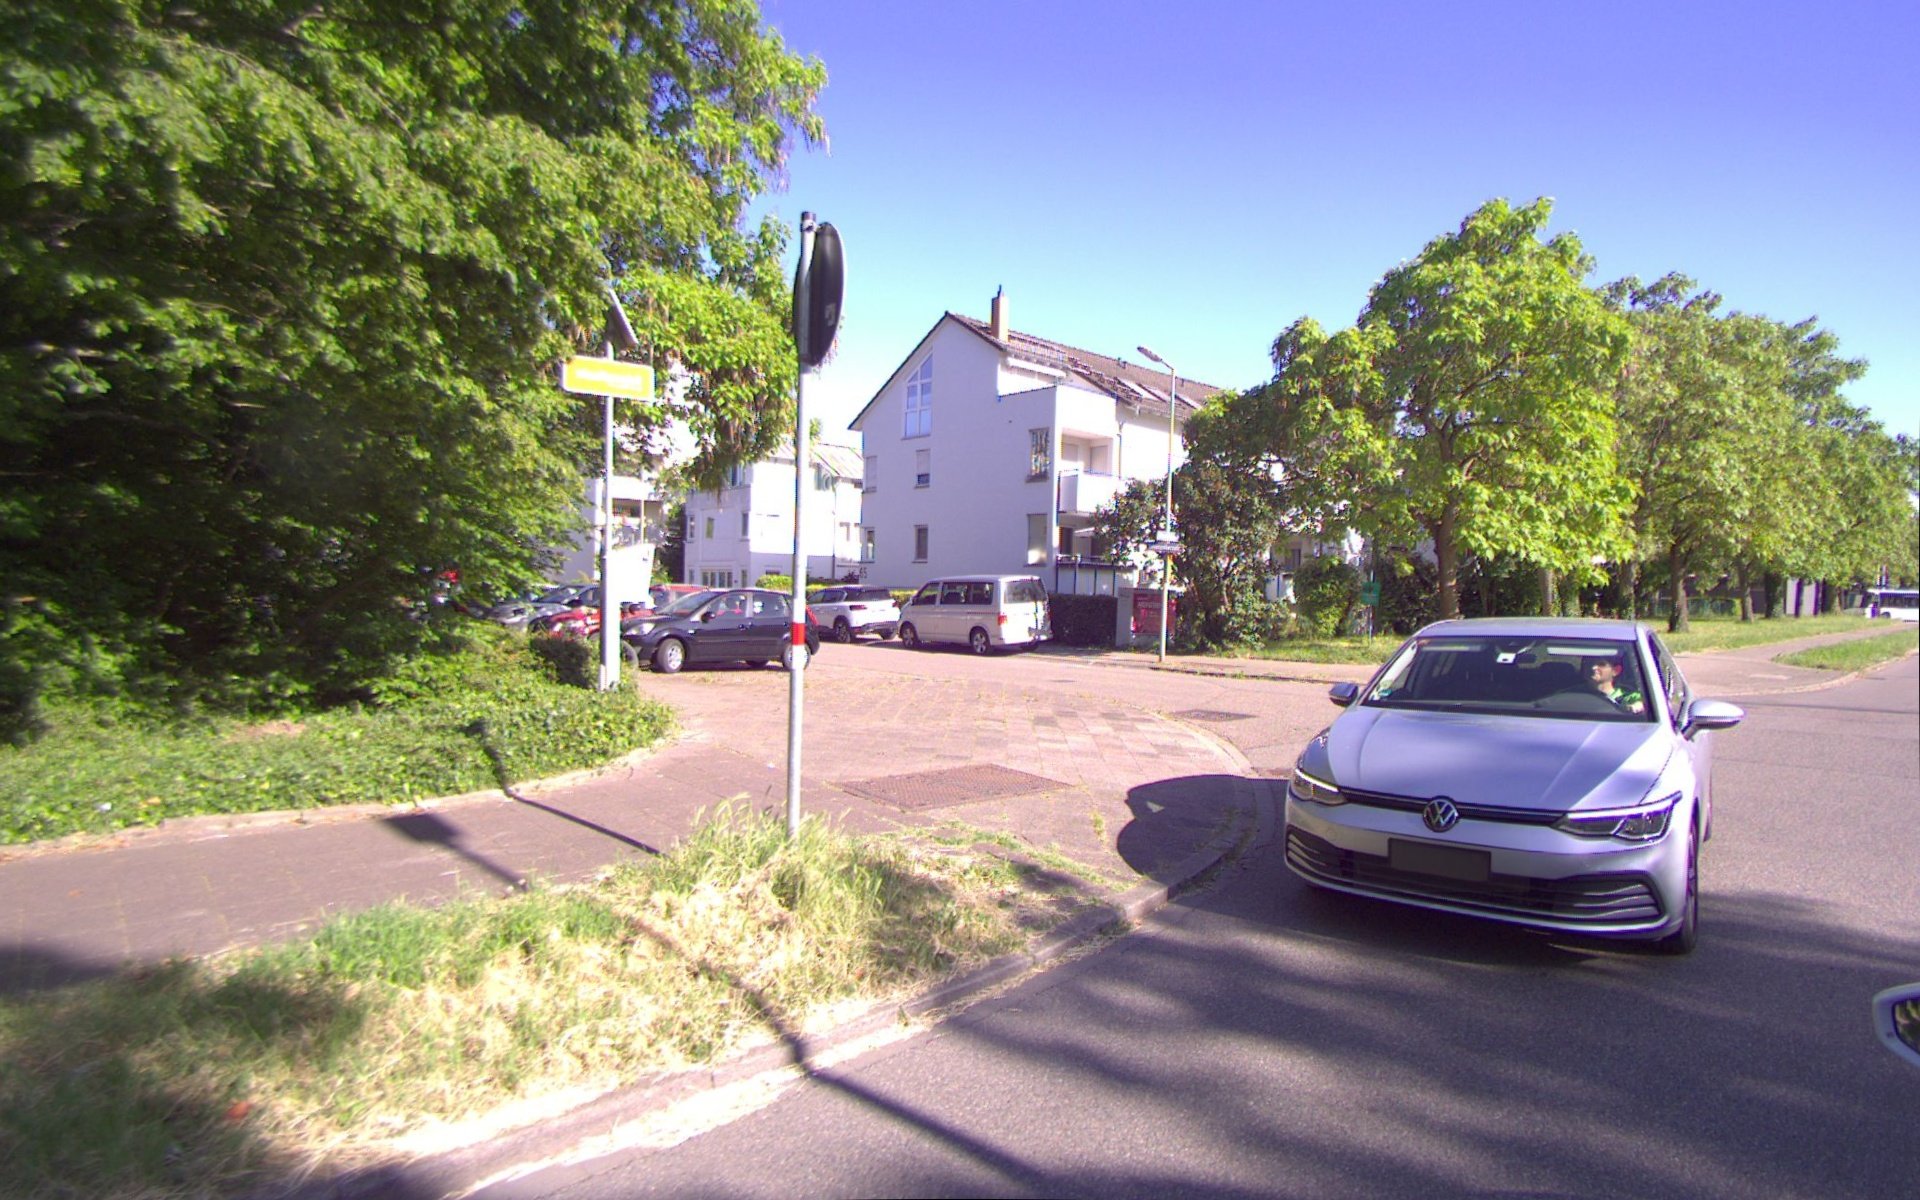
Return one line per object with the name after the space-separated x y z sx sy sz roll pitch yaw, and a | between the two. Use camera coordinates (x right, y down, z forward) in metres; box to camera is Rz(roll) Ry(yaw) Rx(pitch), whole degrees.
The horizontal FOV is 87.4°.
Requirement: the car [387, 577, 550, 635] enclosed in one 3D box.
-14.002 0.189 28.755 3.859 1.506 1.653 3 -1 -44 | car

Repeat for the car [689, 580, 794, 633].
-7.881 0.192 36.073 1.908 1.807 4.043 0 1 -43 | car

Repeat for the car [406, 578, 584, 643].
-12.035 0.298 26.156 3.859 1.578 1.653 2 -1 -44 | car

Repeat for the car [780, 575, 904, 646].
-3.646 0.265 30.630 1.921 2.025 3.953 0 1 -40 | car

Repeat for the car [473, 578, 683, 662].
-8.112 0.440 21.533 3.859 1.624 1.653 2 -1 -44 | car

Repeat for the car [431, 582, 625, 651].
-10.165 0.410 23.799 3.859 1.506 1.653 3 -1 -44 | car

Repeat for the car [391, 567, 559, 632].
-14.893 0.022 30.990 4.326 1.831 1.653 2 -1 -44 | car

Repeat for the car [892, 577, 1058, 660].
0.309 0.397 26.492 2.051 1.996 4.415 -1 1 -39 | car

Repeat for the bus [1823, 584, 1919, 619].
80.954 0.135 86.910 10.390 2.862 3.045 1 1 -5 | bus

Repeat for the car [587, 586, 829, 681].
-4.408 0.582 17.930 3.860 1.506 1.653 3 -1 -45 | car

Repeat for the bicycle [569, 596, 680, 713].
-3.782 0.555 11.235 0.752 1.168 1.888 0 1 -32 | bicycle

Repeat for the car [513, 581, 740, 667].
-6.450 0.472 19.676 3.859 1.506 1.653 3 -1 -44 | car

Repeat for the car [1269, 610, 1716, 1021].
3.344 0.844 5.817 1.640 1.486 4.173 0 -2 37 | car
